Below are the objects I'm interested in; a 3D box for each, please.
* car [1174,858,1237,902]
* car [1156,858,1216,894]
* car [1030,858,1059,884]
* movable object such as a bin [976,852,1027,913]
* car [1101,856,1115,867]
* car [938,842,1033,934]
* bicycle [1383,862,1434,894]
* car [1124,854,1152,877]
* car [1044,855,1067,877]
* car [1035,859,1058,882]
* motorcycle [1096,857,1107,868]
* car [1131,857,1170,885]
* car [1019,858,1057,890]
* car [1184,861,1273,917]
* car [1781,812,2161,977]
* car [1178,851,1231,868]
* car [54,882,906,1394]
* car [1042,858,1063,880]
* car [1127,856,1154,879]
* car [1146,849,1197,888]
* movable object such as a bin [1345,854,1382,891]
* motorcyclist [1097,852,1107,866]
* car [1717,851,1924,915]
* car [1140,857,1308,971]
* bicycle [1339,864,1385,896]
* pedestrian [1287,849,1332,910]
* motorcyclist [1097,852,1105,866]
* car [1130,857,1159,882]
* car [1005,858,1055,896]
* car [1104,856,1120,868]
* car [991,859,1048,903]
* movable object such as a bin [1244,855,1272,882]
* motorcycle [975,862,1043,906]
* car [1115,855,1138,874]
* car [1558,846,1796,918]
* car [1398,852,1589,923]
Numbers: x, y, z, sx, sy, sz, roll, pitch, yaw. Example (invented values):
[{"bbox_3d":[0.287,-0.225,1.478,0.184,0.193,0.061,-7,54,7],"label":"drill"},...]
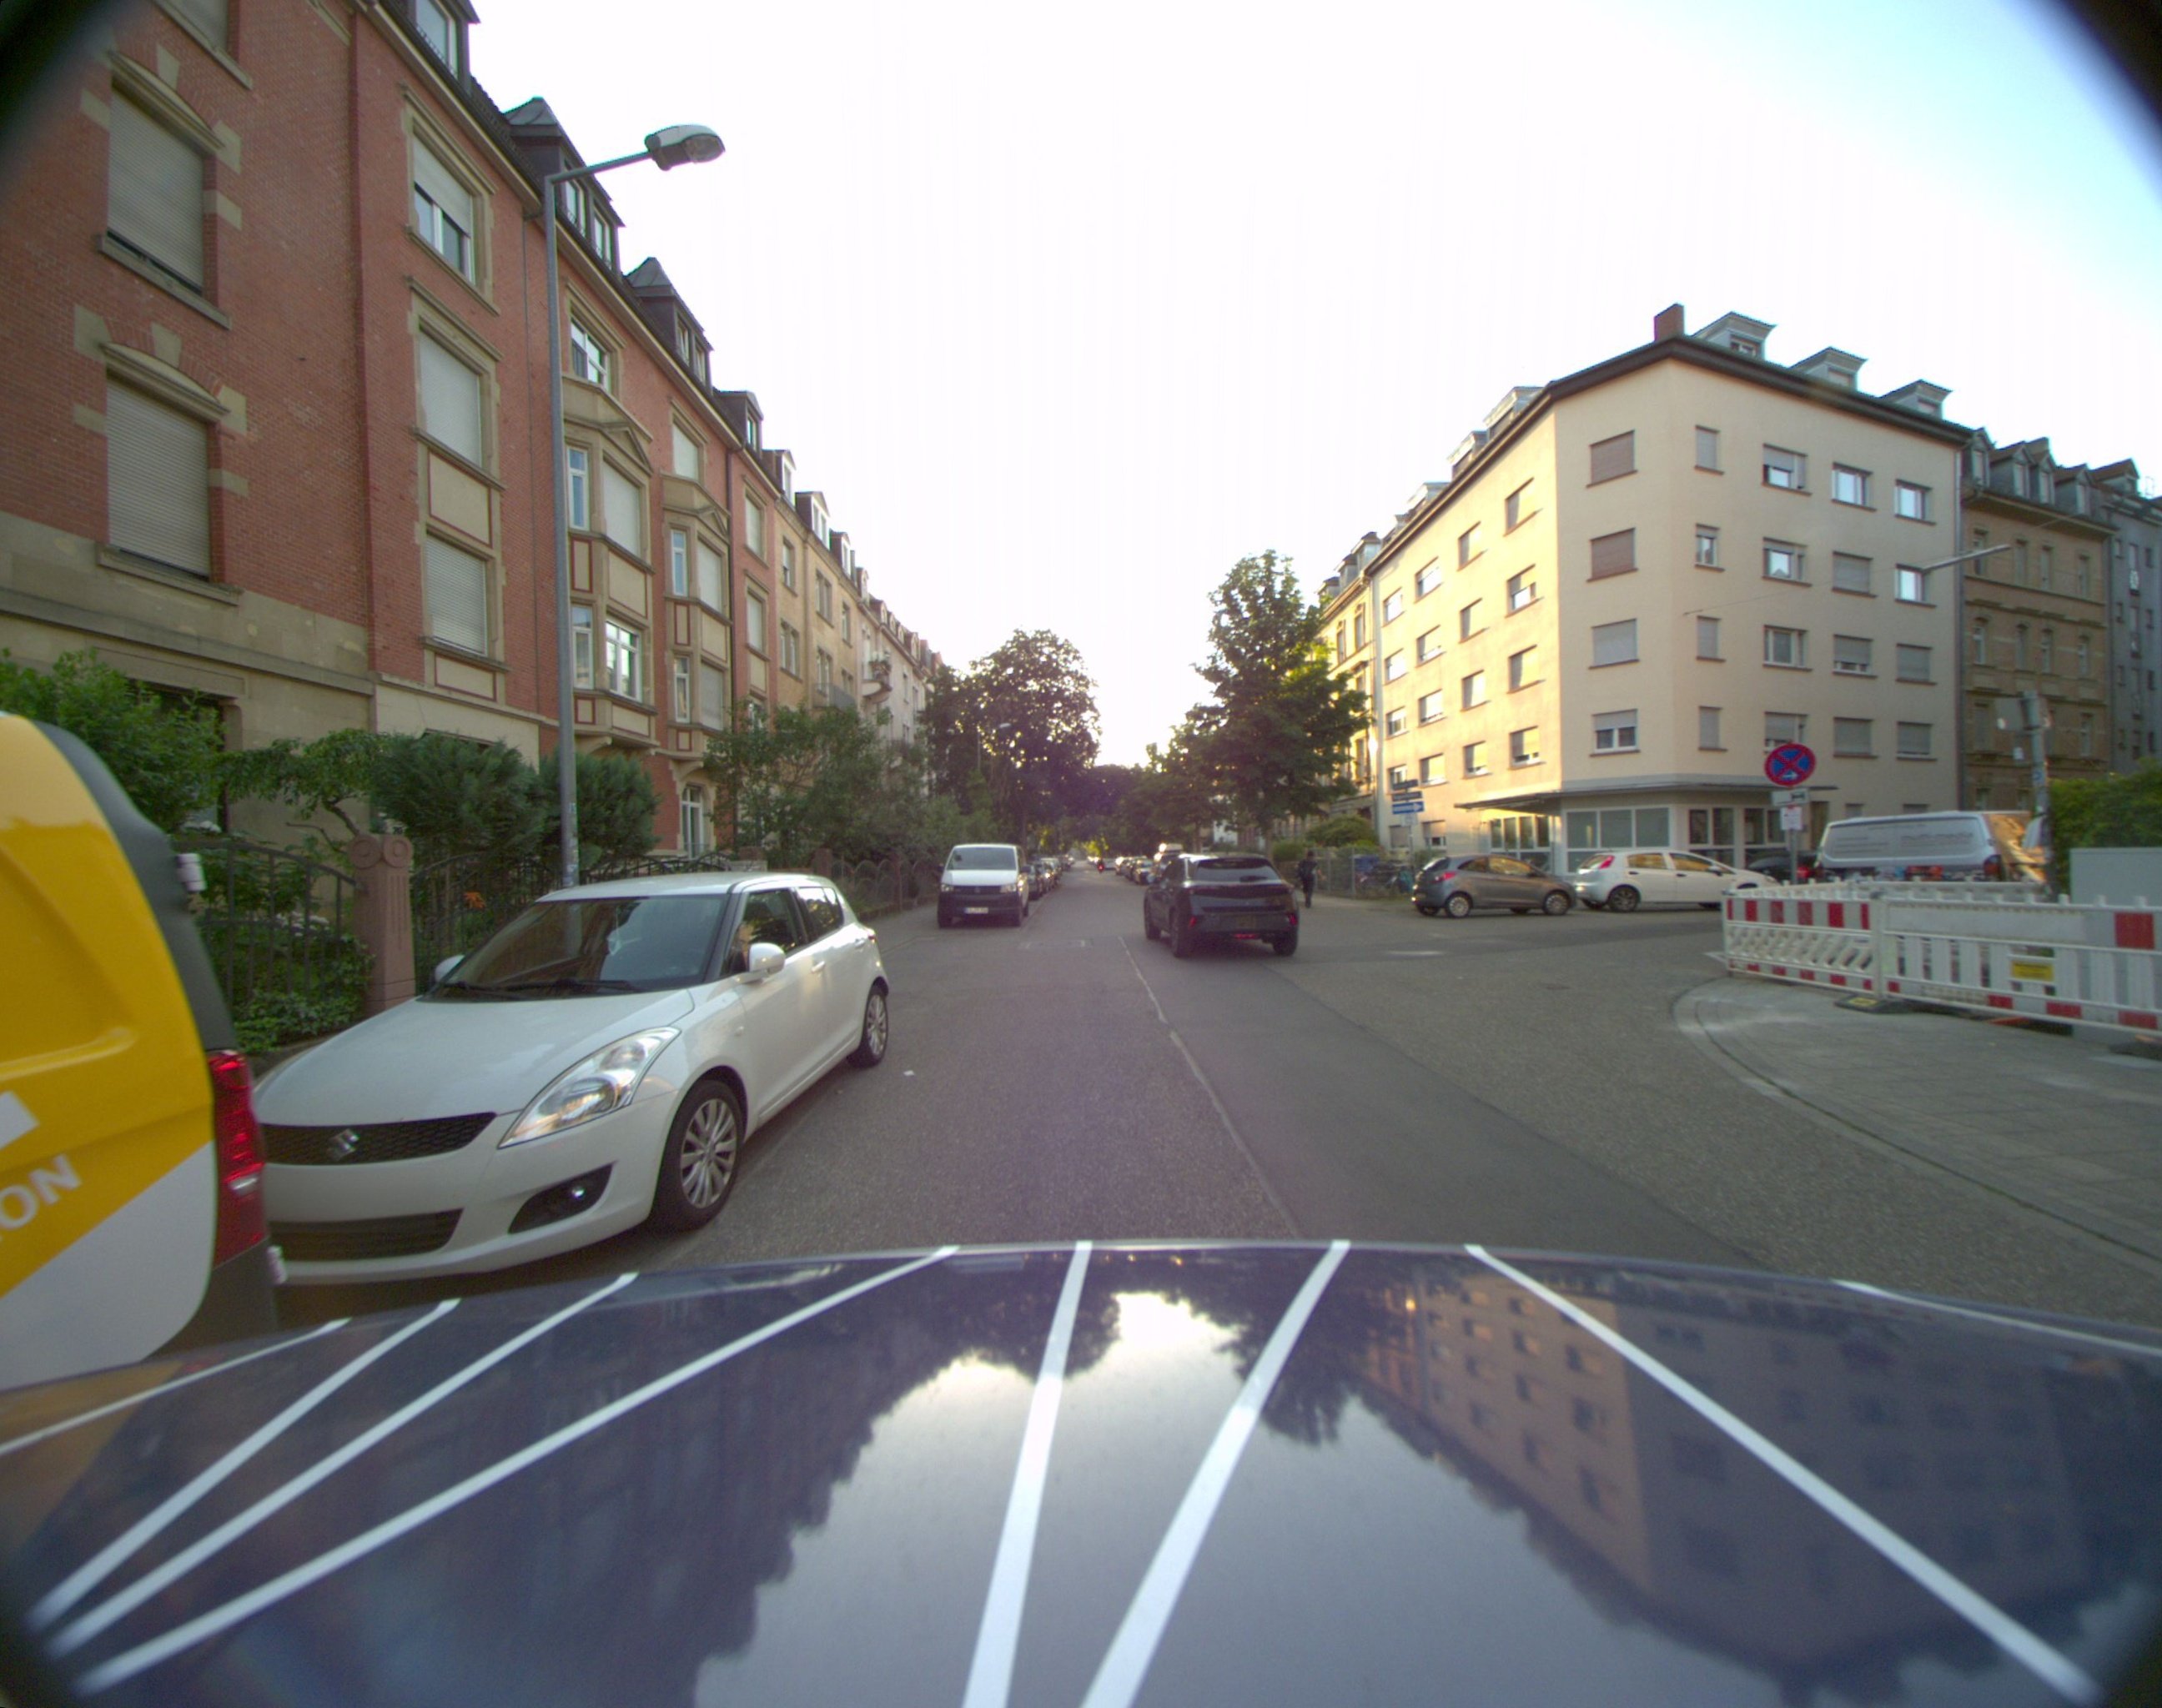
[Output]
[{"bbox_3d":[4.495,0.908,27.884,1.746,1.412,4.143,-2,0,2],"label":"car"},{"bbox_3d":[4.483,0.902,33.040,1.866,1.404,4.590,-2,0,-1],"label":"car"},{"bbox_3d":[-2.279,1.050,48.238,1.737,1.498,4.163,-2,0,-2],"label":"car"},{"bbox_3d":[-2.521,0.876,24.551,1.415,1.867,2.324,1,0,-1],"label":"movable object such as a bin"},{"bbox_3d":[3.825,1.021,109.379,1.840,1.484,3.641,-2,0,-1],"label":"car"},{"bbox_3d":[-2.287,0.754,19.607,1.866,2.027,5.544,0,0,-1],"label":"car"},{"bbox_3d":[11.461,0.836,26.625,0.502,1.086,1.545,-3,1,-38],"label":"bicycle"},{"bbox_3d":[4.366,0.843,58.505,1.866,1.653,4.021,-2,0,1],"label":"car"},{"bbox_3d":[-2.124,1.000,63.484,1.737,1.692,4.167,-2,0,-2],"label":"car"},{"bbox_3d":[-2.391,1.137,53.453,1.479,1.498,3.928,-2,0,-2],"label":"car"},{"bbox_3d":[2.266,0.897,82.939,0.848,1.202,2.076,2,1,10],"label":"motorcycle"},{"bbox_3d":[4.015,0.953,44.289,1.733,1.433,4.023,-2,0,-2],"label":"car"},{"bbox_3d":[-2.239,1.039,40.376,1.590,1.516,3.602,-3,0,2],"label":"car"},{"bbox_3d":[4.346,0.979,23.059,1.679,1.453,4.462,-2,0,-2],"label":"car"},{"bbox_3d":[13.119,0.455,11.128,5.300,1.963,2.204,-1,0,-23],"label":"car"},{"bbox_3d":[10.942,0.493,67.683,4.413,1.333,1.625,-2,0,1],"label":"car"},{"bbox_3d":[-2.394,1.003,4.378,1.678,1.468,3.862,-2,0,3],"label":"car"},{"bbox_3d":[-2.161,1.093,57.859,1.502,1.538,3.338,-2,0,-2],"label":"car"},{"bbox_3d":[4.139,0.924,53.464,1.682,1.489,3.625,-2,0,2],"label":"car"},{"bbox_3d":[4.452,0.679,38.045,1.866,1.768,4.622,-2,0,-1],"label":"car"},{"bbox_3d":[10.941,0.702,29.461,0.868,1.344,1.398,-3,0,2],"label":"movable object such as a bin"},{"bbox_3d":[2.288,0.582,83.069,0.891,1.496,0.970,2,1,10],"label":"motorcyclist"},{"bbox_3d":[18.631,0.689,19.200,4.082,1.430,1.996,-1,0,-17],"label":"car"},{"bbox_3d":[2.103,0.818,12.339,1.784,1.508,3.998,0,0,-3],"label":"car"},{"bbox_3d":[9.828,0.881,26.657,0.689,1.019,1.931,-3,0,-6],"label":"bicycle"},{"bbox_3d":[6.666,0.741,22.169,0.889,1.712,0.960,-2,1,38],"label":"pedestrian"},{"bbox_3d":[2.179,0.569,82.302,0.789,1.531,0.546,2,1,10],"label":"motorcyclist"},{"bbox_3d":[4.041,0.959,49.006,1.441,1.485,3.298,-2,0,-2],"label":"car"},{"bbox_3d":[-2.326,1.025,35.878,1.761,1.573,4.842,-3,0,2],"label":"car"},{"bbox_3d":[4.180,1.061,103.741,1.953,1.484,3.738,-2,0,-1],"label":"car"},{"bbox_3d":[-2.392,1.038,30.624,1.724,1.542,4.325,-2,0,2],"label":"car"},{"bbox_3d":[9.224,0.745,39.581,0.948,1.379,1.551,-3,0,-4],"label":"movable object such as a bin"},{"bbox_3d":[-2.510,1.022,26.554,2.099,1.474,1.130,0,1,-33],"label":"motorcycle"},{"bbox_3d":[4.165,0.908,69.956,1.677,1.627,3.939,-2,0,-3],"label":"car"},{"bbox_3d":[14.253,0.650,18.448,4.066,1.500,1.975,-3,0,12],"label":"car"},{"bbox_3d":[9.732,0.777,18.136,3.515,1.499,1.845,-2,-1,-1],"label":"car"}]
